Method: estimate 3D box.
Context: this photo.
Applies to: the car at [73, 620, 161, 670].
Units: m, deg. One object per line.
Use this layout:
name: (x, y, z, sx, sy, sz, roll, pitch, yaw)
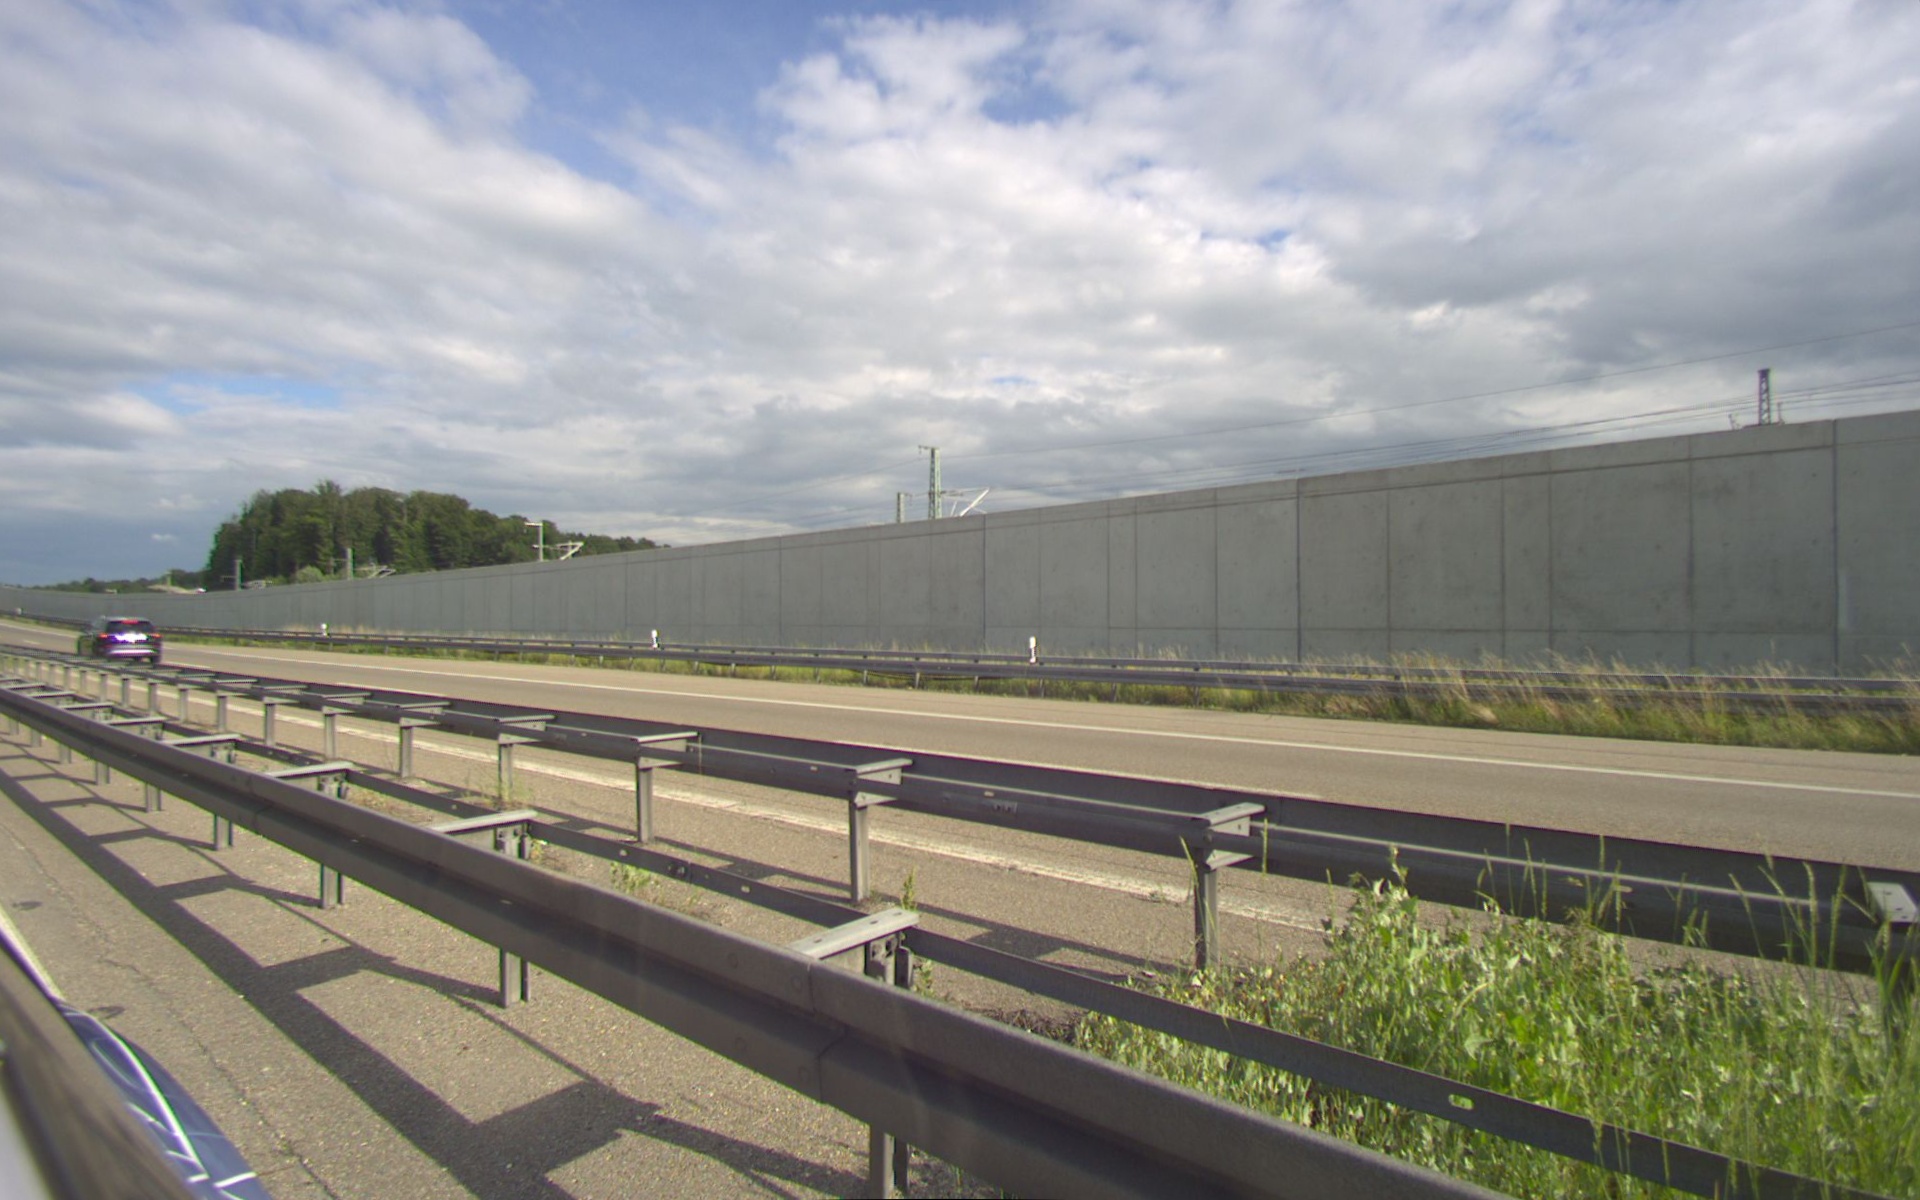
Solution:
car: (-29.565, 1.539, 35.453, 4.447, 1.607, 1.698, -1, -1, 41)
